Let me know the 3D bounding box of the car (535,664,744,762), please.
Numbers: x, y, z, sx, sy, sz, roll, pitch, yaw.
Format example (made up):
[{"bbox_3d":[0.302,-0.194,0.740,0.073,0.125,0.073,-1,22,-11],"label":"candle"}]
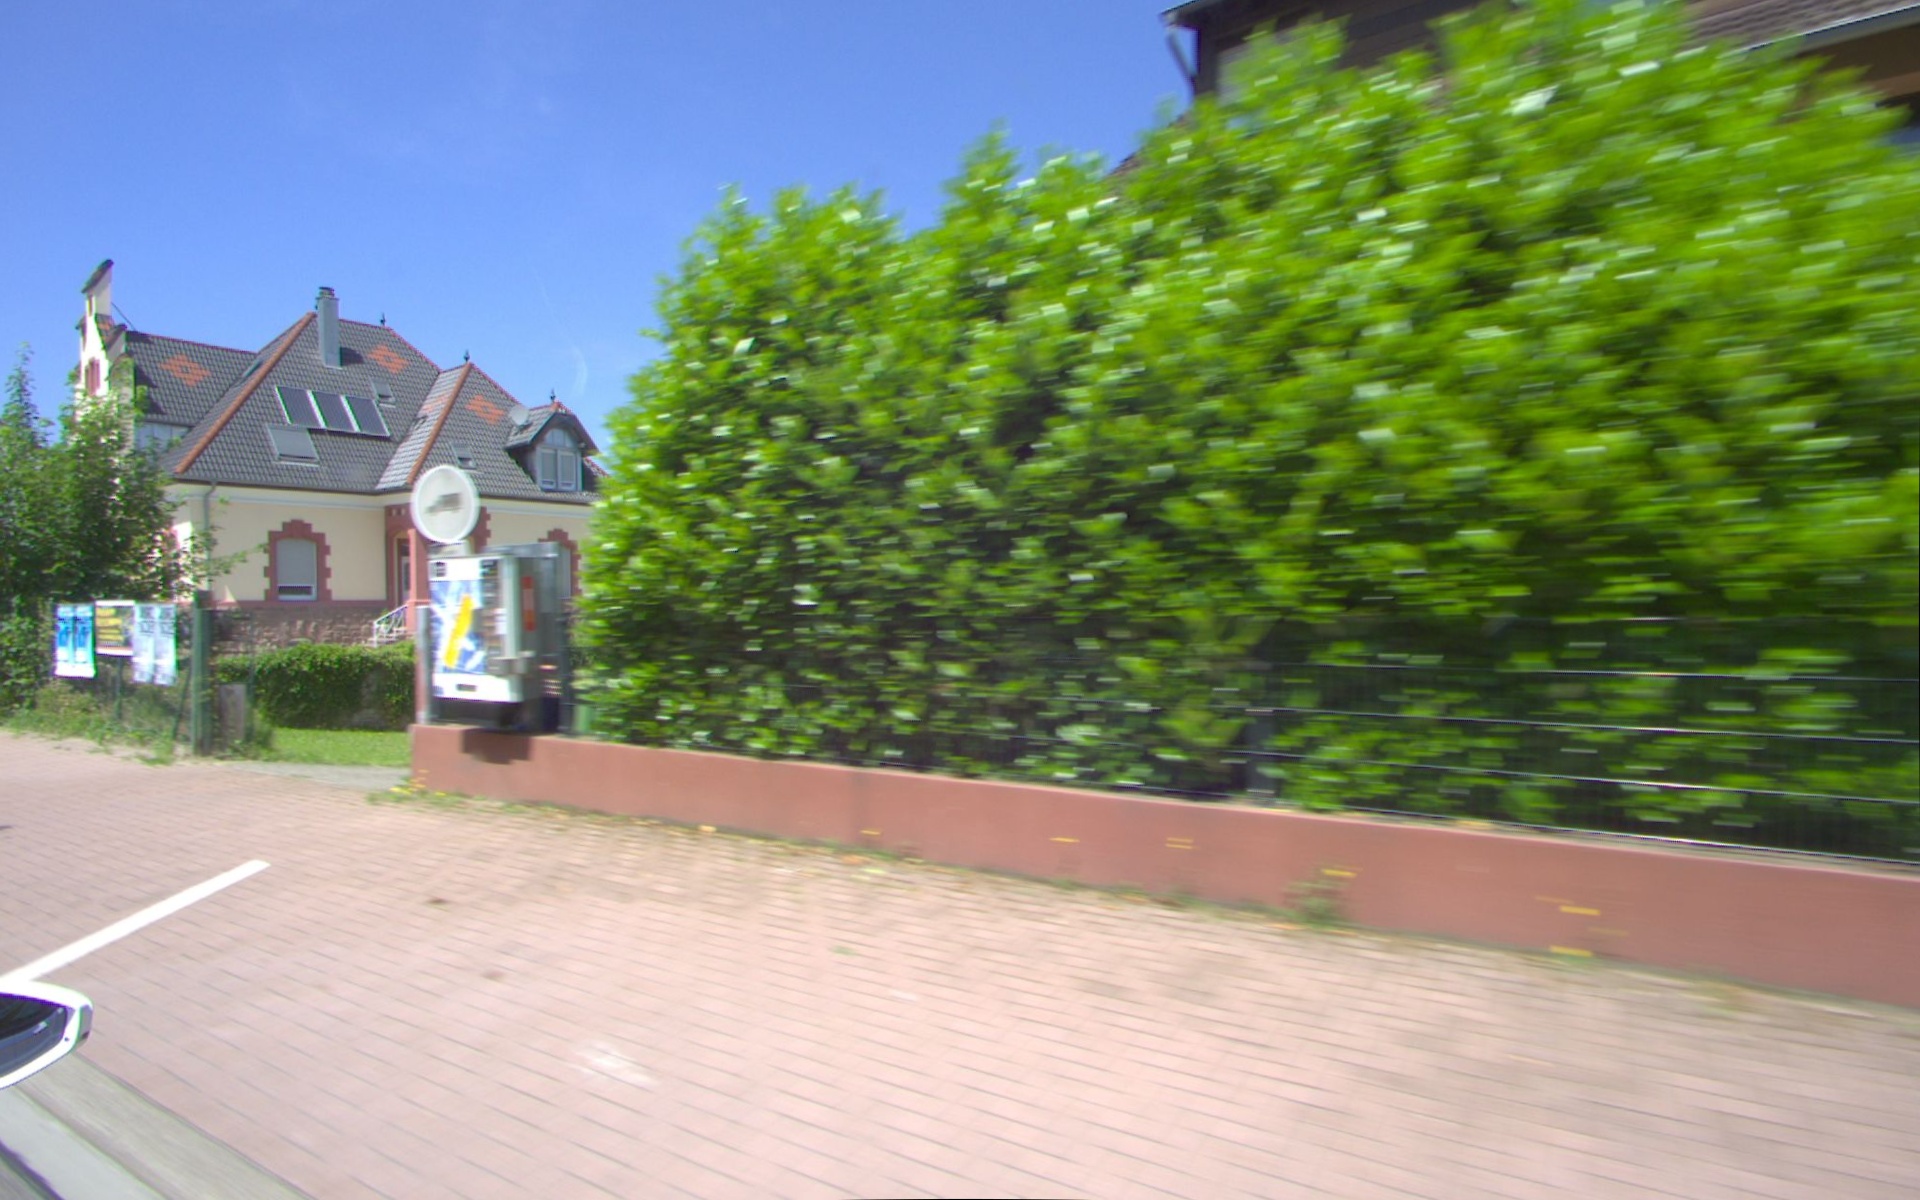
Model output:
[{"bbox_3d":[-5.522,1.920,17.144,3.524,1.489,1.491,-3,-9,35],"label":"car"}]
